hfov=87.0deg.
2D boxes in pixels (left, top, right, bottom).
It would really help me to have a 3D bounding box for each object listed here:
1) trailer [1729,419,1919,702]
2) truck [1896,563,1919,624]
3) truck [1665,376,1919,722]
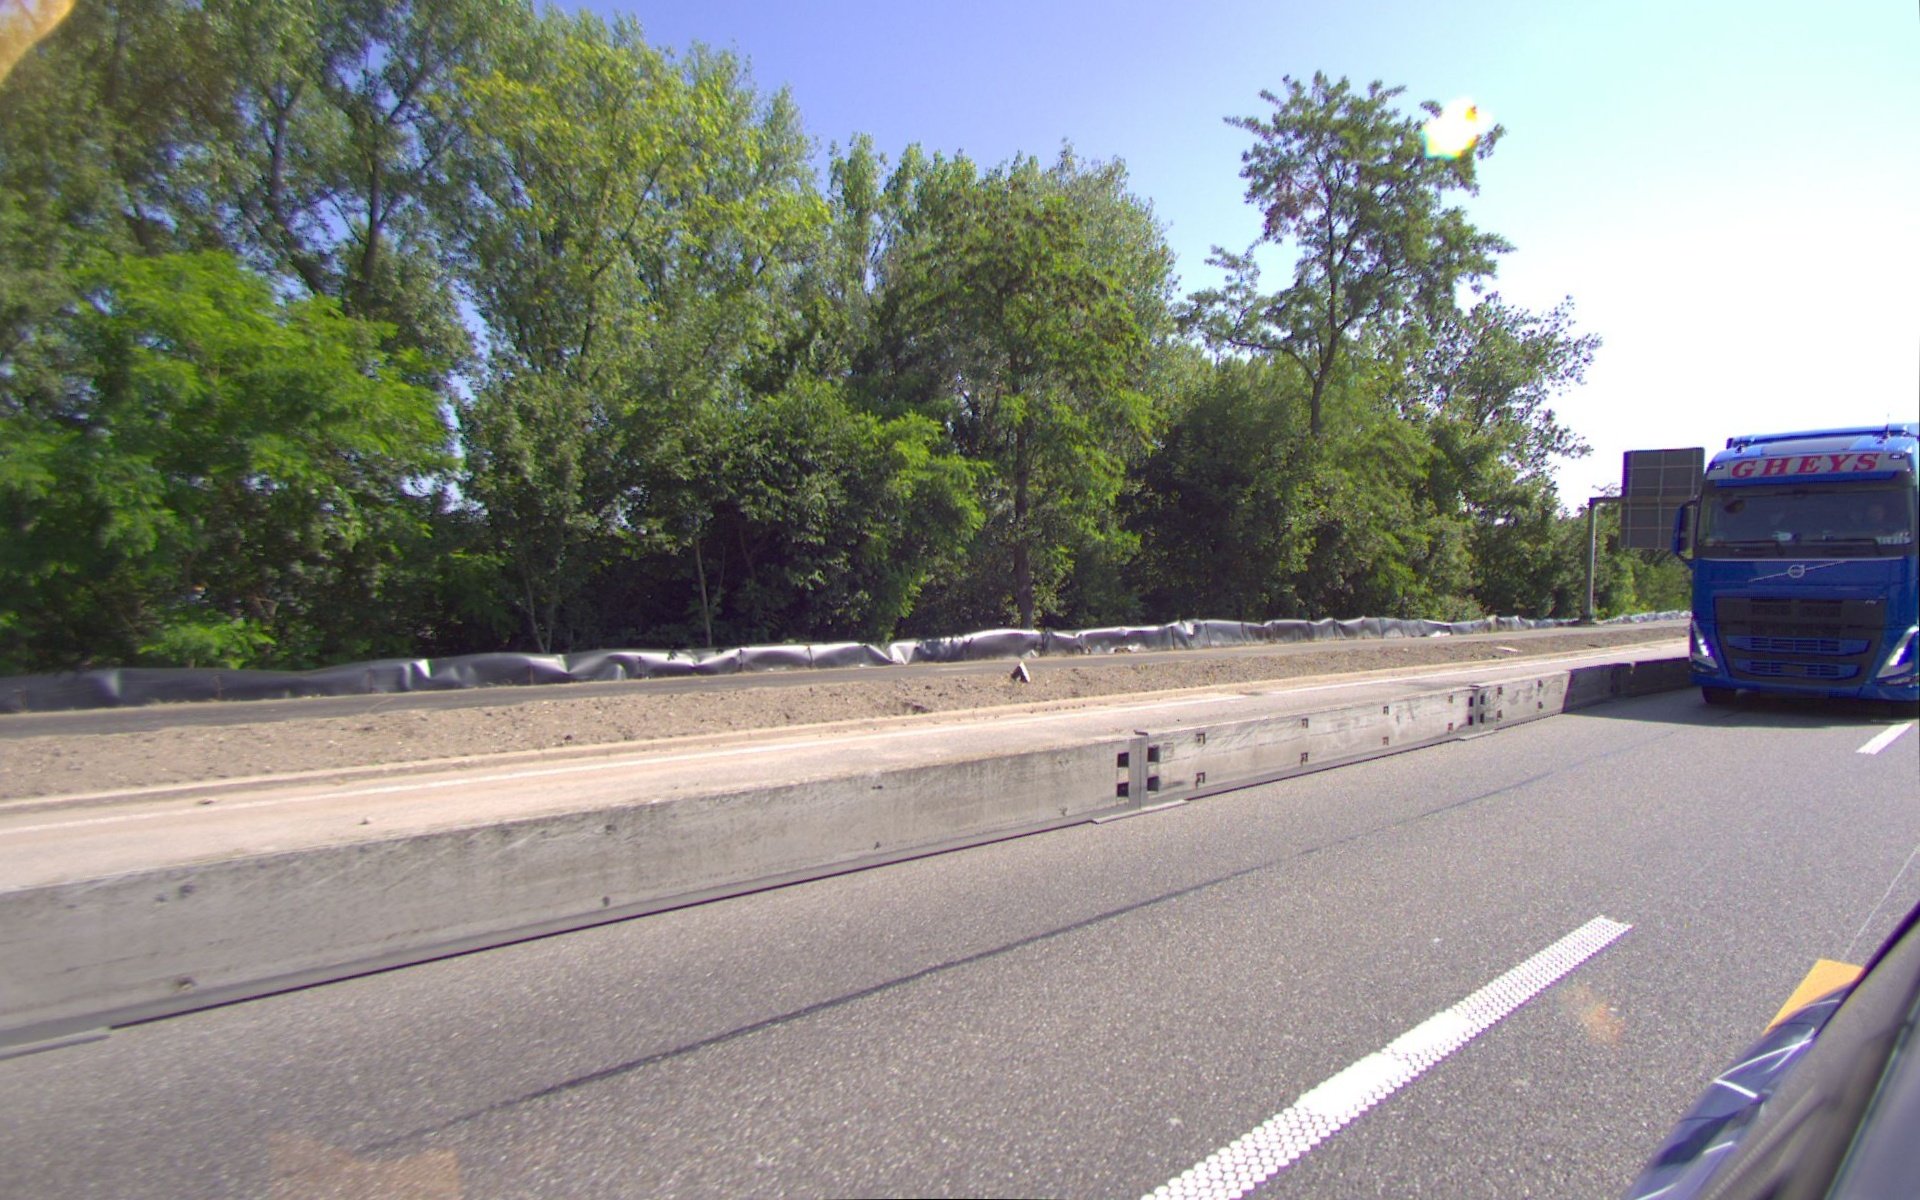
[{"bbox_3d":[18.278,-0.598,19.756,12.395,4.188,2.699,1,3,-42],"label":"trailer"},{"bbox_3d":[67.405,-0.401,70.595,2.855,4.033,8.529,4,3,43],"label":"truck"},{"bbox_3d":[13.440,-0.659,15.436,7.175,4.152,2.699,1,3,-42],"label":"truck"}]
